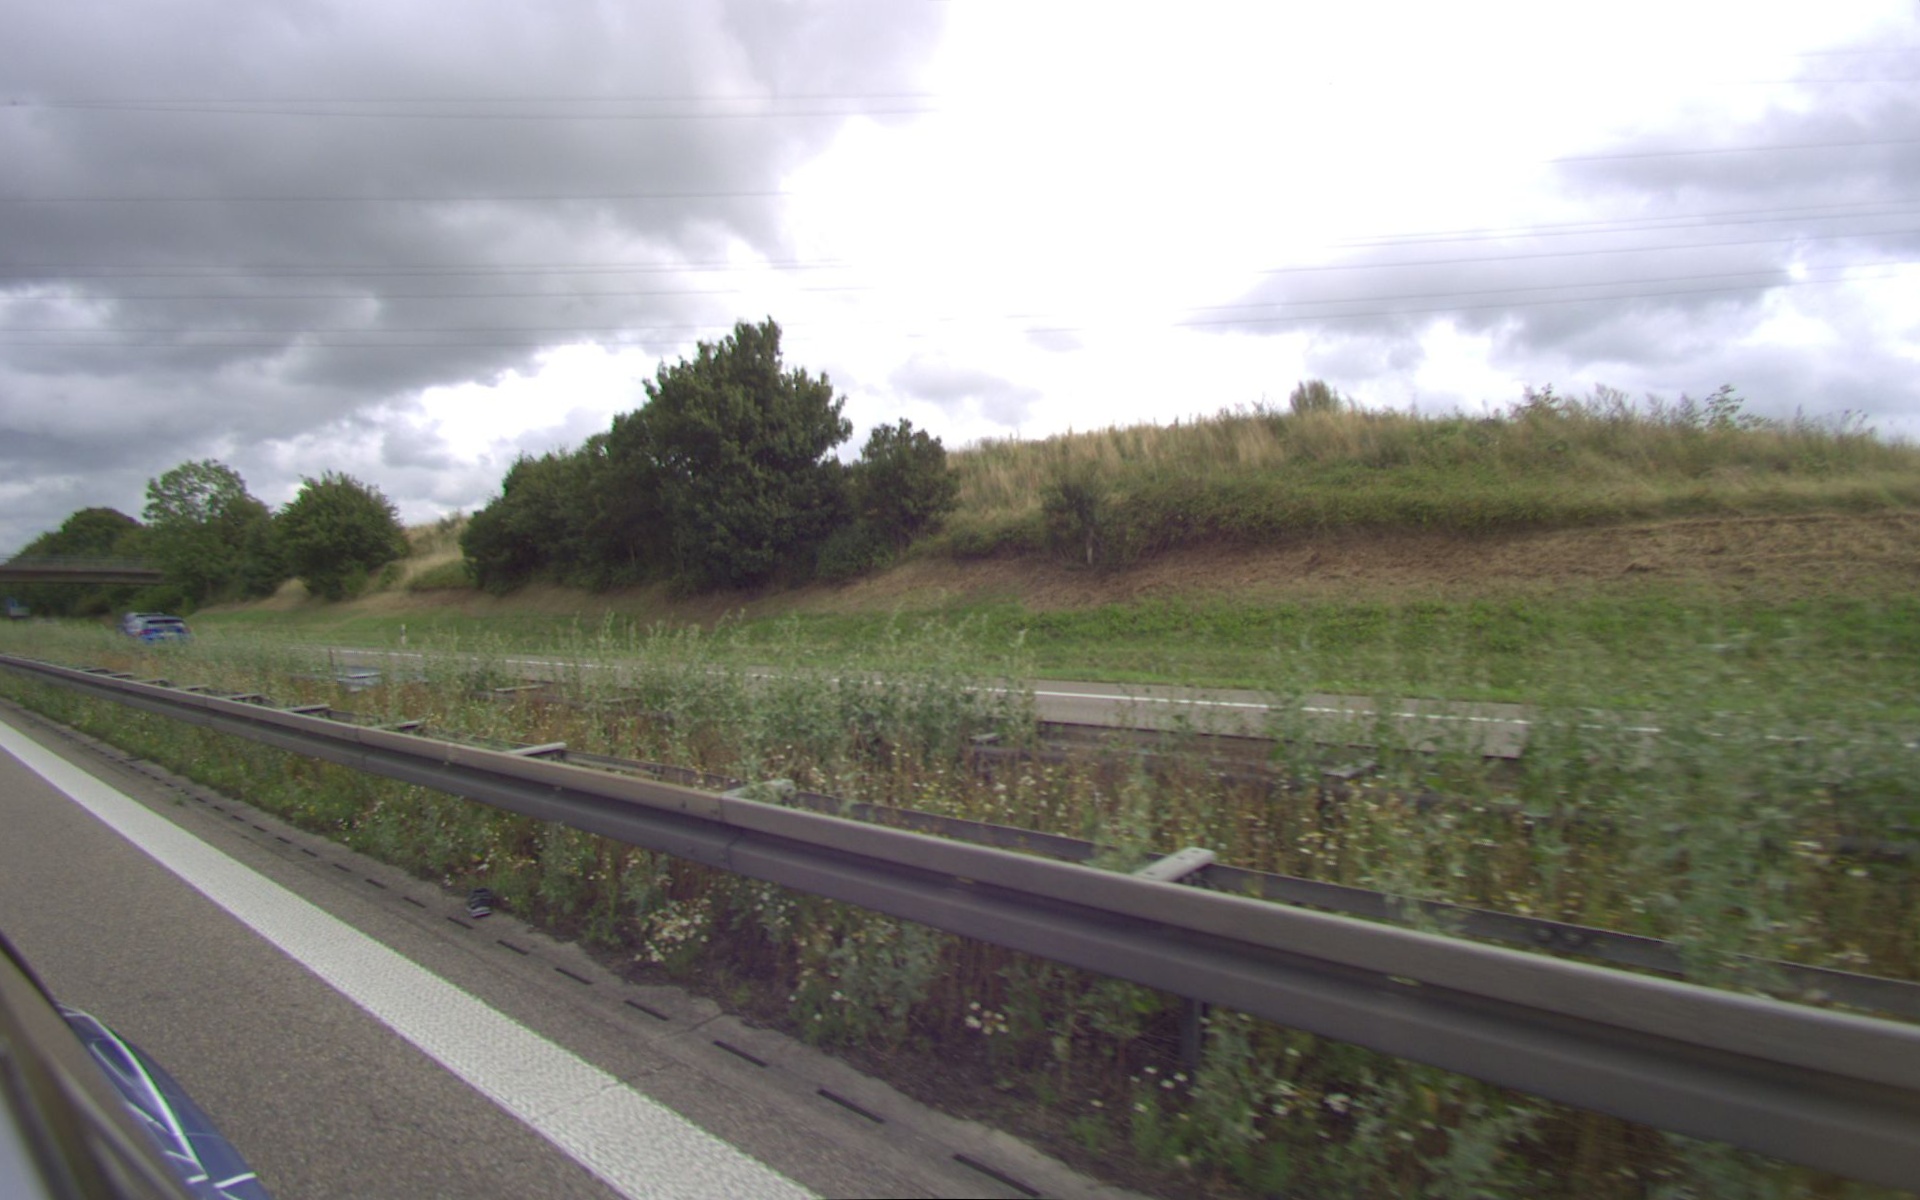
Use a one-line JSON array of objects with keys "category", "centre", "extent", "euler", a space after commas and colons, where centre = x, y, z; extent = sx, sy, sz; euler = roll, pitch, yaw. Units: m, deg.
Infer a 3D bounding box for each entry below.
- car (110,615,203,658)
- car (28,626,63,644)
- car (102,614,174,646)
[{"category": "car", "centre": [-29.850, 1.305, 37.563], "extent": [4.442, 1.468, 1.973], "euler": [-1, 0, 42]}, {"category": "car", "centre": [-78.563, 2.997, 86.936], "extent": [3.998, 1.464, 1.728], "euler": [-1, 0, 41]}, {"category": "car", "centre": [-43.816, 1.564, 53.912], "extent": [5.617, 1.587, 1.909], "euler": [-1, 0, 40]}]
